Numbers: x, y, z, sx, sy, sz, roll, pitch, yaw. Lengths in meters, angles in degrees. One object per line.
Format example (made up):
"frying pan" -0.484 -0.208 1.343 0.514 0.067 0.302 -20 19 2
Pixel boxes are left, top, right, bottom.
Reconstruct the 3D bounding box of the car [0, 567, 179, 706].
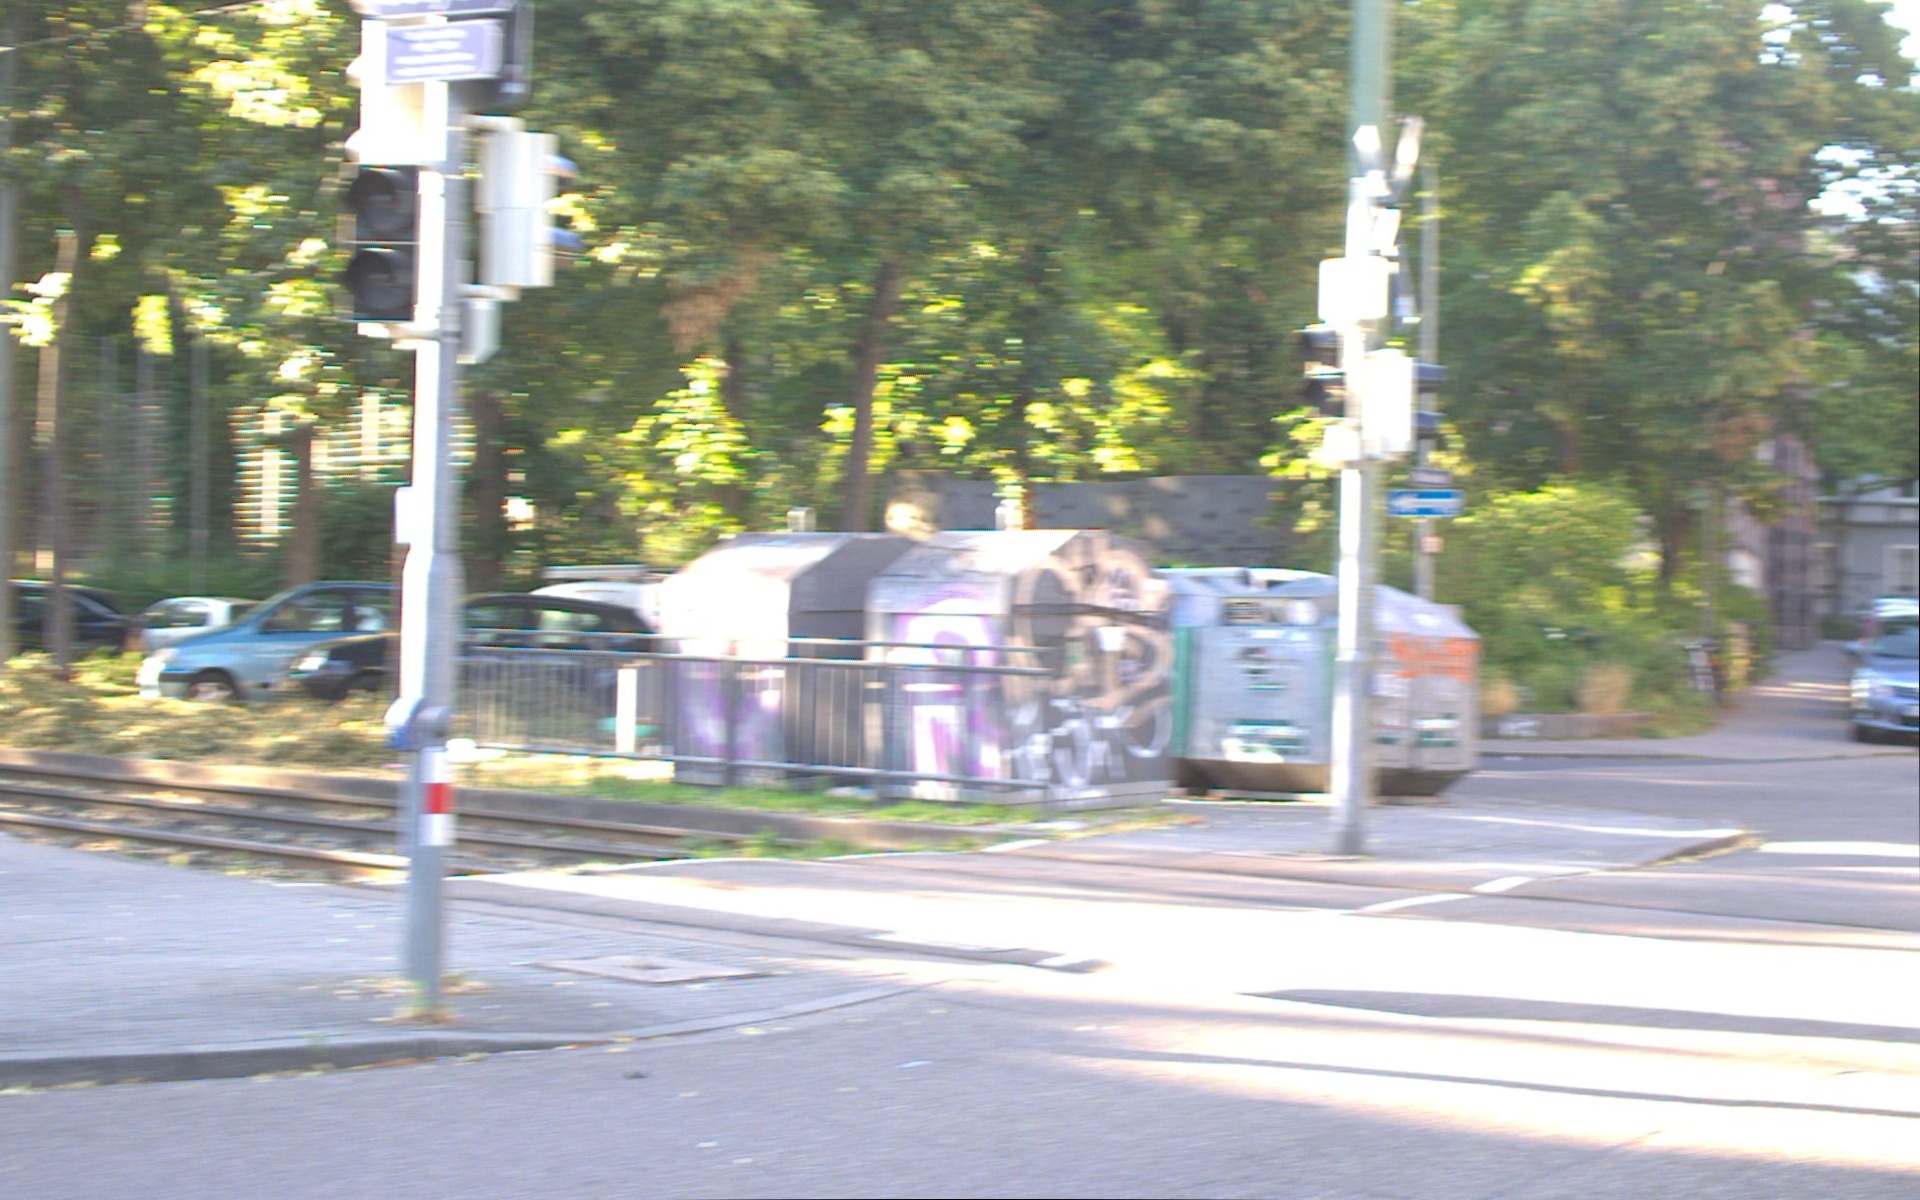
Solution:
"car" -11.294 0.386 40.423 3.815 1.492 1.738 4 -3 -21

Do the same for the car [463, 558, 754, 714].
"car" -4.585 0.439 44.531 3.899 1.897 1.572 1 0 44

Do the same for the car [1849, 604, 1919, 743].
"car" 12.230 0.929 43.216 1.827 1.609 4.288 5 1 16

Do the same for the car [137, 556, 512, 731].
"car" -6.655 0.453 35.938 3.606 1.557 1.608 4 -1 -17

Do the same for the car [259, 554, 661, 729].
"car" -4.912 0.404 33.702 3.606 1.442 1.608 4 -1 -17

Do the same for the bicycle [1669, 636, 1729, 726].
"bicycle" 9.600 1.034 44.614 0.597 1.098 2.625 1 0 15

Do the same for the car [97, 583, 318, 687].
"car" -11.410 0.516 52.045 1.572 1.462 3.598 1 0 -44

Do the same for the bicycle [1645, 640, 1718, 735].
"bicycle" 8.828 1.055 42.008 0.597 1.098 2.625 1 0 17

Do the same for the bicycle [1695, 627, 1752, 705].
"bicycle" 11.310 0.959 50.898 0.597 1.098 2.625 1 0 17

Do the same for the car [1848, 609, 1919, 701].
"car" 16.878 0.982 61.309 1.827 1.495 3.928 5 1 16

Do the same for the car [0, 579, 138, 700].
"car" -12.290 0.433 42.590 3.815 1.387 1.738 4 -3 -21

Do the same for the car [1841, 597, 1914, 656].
"car" 26.101 0.751 97.696 1.827 1.495 3.928 5 1 16

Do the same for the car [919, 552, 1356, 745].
"car" 1.936 0.504 38.539 4.655 1.996 1.945 1 0 41
